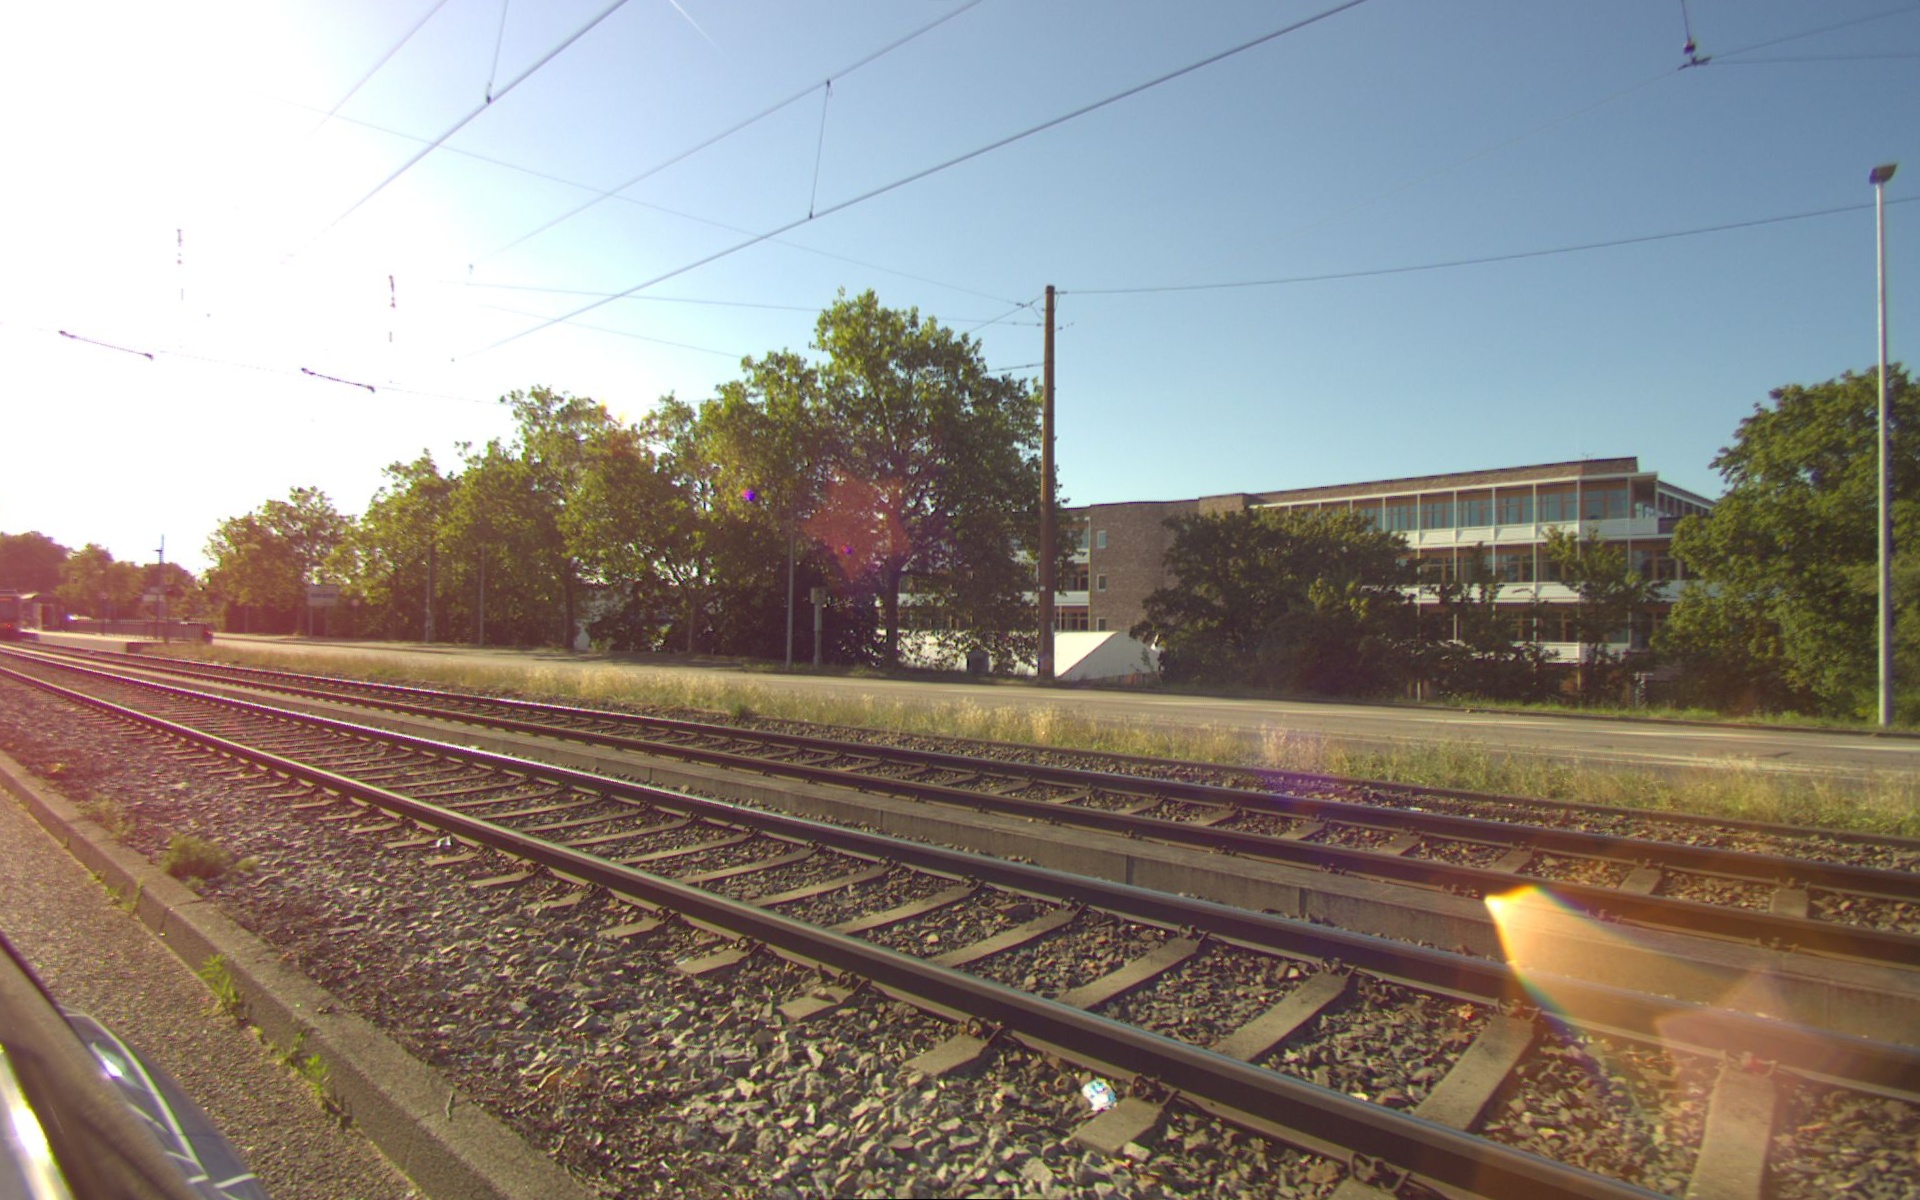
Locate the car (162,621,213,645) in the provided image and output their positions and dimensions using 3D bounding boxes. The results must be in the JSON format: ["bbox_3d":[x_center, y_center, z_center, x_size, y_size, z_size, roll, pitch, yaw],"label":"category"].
[{"bbox_3d":[-47.662,2.005,62.403,4.488,1.436,1.754,-1,-2,43],"label":"car"}]

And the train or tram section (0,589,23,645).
[{"bbox_3d":[-69.516,1.210,72.275,12.967,3.715,2.797,-1,0,43],"label":"train or tram section"}]

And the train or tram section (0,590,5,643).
[{"bbox_3d":[-80.101,1.366,82.063,15.873,4.036,2.797,-1,0,43],"label":"train or tram section"}]
